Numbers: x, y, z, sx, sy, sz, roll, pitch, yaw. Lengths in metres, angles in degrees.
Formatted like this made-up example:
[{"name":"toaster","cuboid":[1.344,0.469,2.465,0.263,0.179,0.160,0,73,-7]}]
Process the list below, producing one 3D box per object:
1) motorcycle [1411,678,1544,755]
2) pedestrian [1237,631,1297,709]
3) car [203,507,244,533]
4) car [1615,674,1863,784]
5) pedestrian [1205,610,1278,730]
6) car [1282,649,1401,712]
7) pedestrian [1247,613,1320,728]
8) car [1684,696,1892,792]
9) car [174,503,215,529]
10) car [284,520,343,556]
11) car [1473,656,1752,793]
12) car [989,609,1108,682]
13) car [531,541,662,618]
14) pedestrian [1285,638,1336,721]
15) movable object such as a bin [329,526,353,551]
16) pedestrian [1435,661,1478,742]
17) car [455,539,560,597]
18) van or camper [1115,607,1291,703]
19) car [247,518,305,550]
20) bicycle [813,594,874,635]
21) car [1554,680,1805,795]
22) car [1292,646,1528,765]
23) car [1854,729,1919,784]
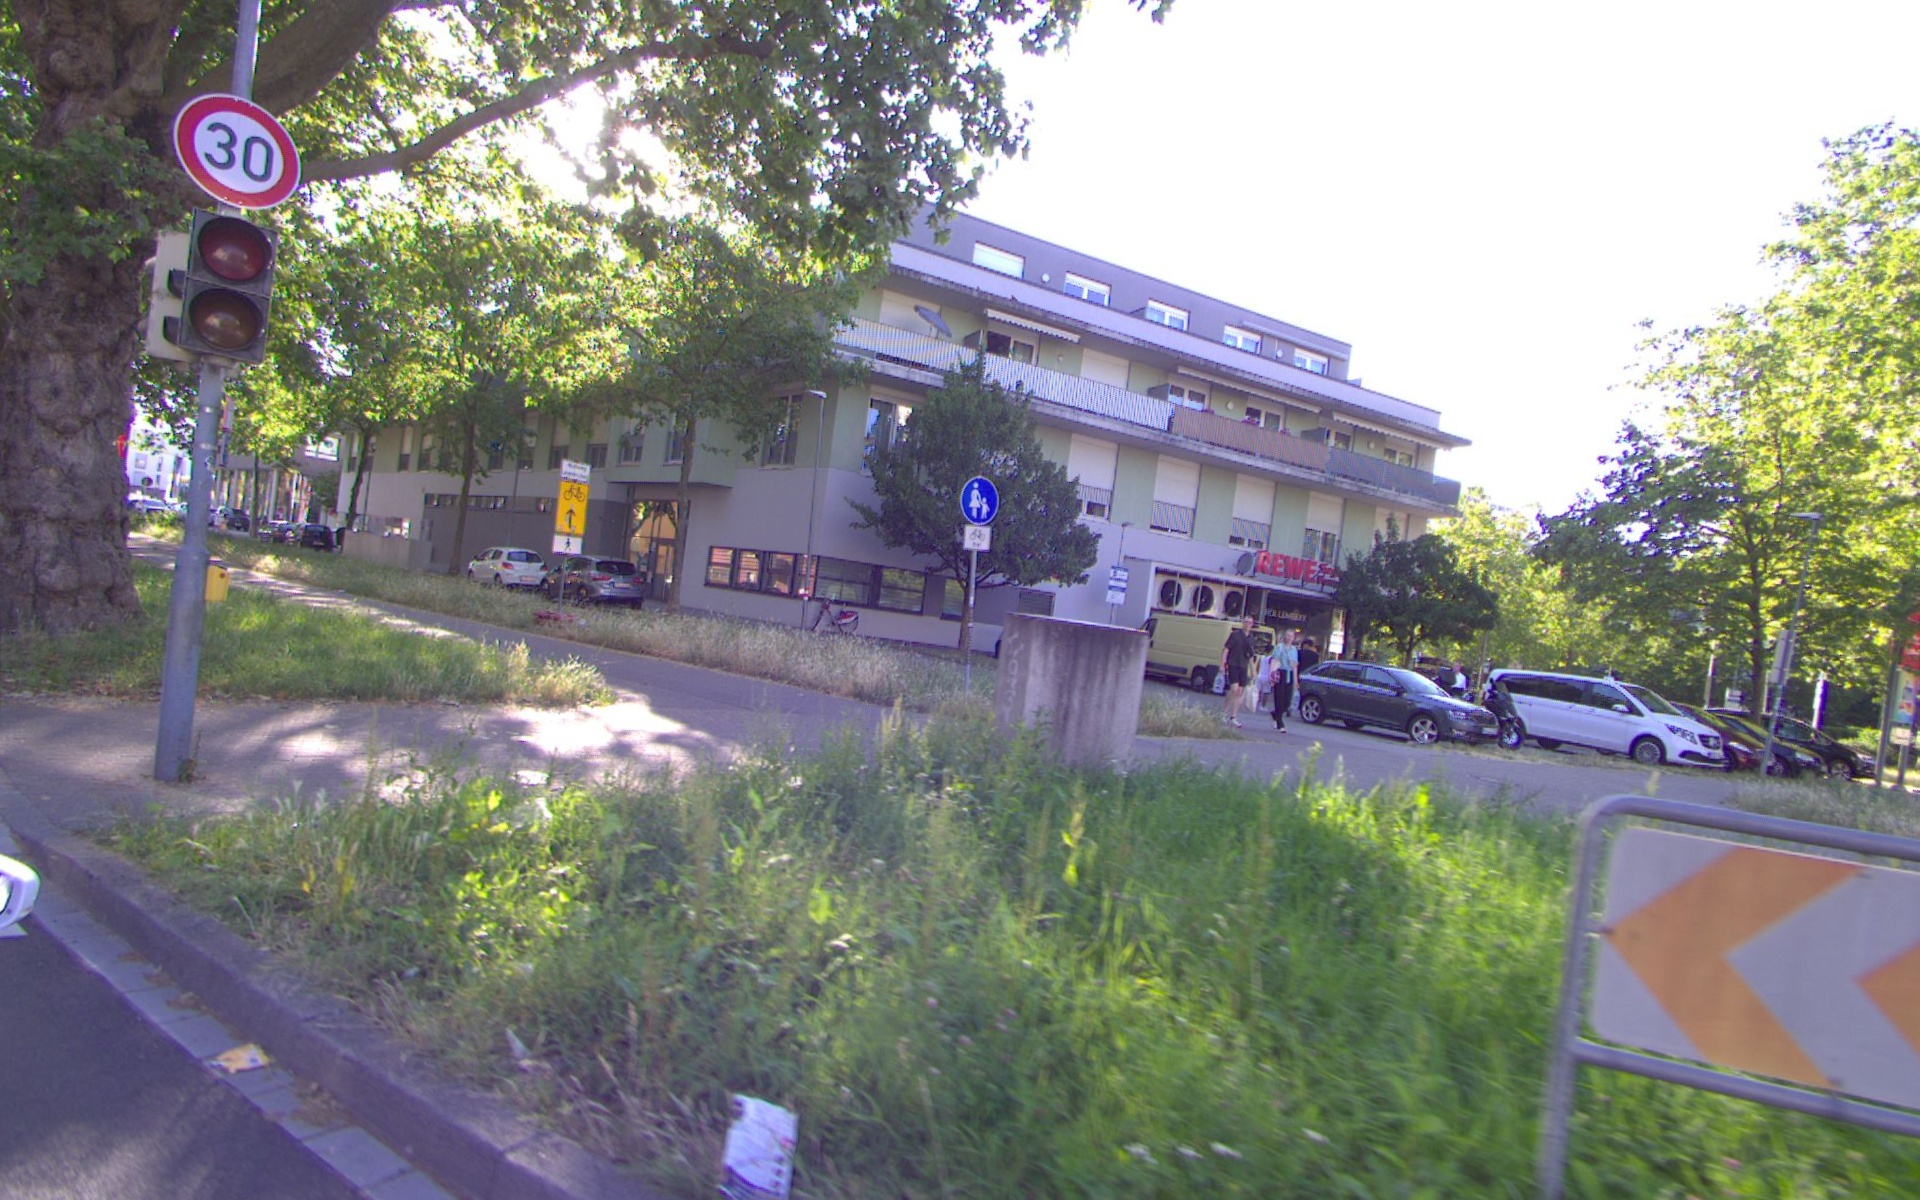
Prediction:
[{"name":"motorcycle","cuboid":[11.288,2.523,22.034,0.942,1.263,2.296,7,0,-33]},{"name":"pedestrian","cuboid":[7.278,1.660,23.861,0.935,1.719,0.880,8,1,37]},{"name":"car","cuboid":[-62.426,-6.778,85.231,4.123,1.755,1.982,7,0,43]},{"name":"car","cuboid":[20.427,3.336,26.640,1.979,1.798,4.595,8,3,-29]},{"name":"pedestrian","cuboid":[4.863,1.189,17.449,0.768,1.956,0.838,7,1,-2]},{"name":"car","cuboid":[13.428,2.818,35.593,1.561,1.653,3.651,8,-1,-29]},{"name":"pedestrian","cuboid":[5.710,1.223,17.823,0.789,1.903,0.785,7,1,-2]},{"name":"car","cuboid":[25.180,4.307,30.774,4.566,1.798,1.992,11,3,41]},{"name":"car","cuboid":[-63.929,-7.000,83.945,4.122,1.755,1.873,7,0,42]},{"name":"car","cuboid":[-35.624,-3.451,55.392,3.711,1.571,1.855,7,0,45]},{"name":"car","cuboid":[15.361,2.865,24.066,1.979,2.124,5.010,8,3,-29]},{"name":"car","cuboid":[2.554,1.308,29.803,1.657,1.474,3.529,8,3,-29]},{"name":"car","cuboid":[-10.933,-0.659,30.104,4.264,1.792,1.900,7,0,45]},{"name":"pedestrian","cuboid":[8.164,1.849,23.411,0.675,1.832,0.962,8,1,34]},{"name":"movable object such as a bin","cuboid":[-41.214,-4.095,66.955,1.186,1.481,1.394,7,0,-34]},{"name":"pedestrian","cuboid":[11.479,2.337,23.244,0.555,1.772,0.527,7,-1,-34]},{"name":"car","cuboid":[-16.013,-1.158,35.489,4.264,1.561,1.855,7,0,45]},{"name":"van or camper","cuboid":[7.462,1.636,31.597,2.238,2.274,5.333,7,0,-27]},{"name":"car","cuboid":[-40.566,-3.922,59.633,4.068,1.486,1.856,7,0,43]},{"name":"bicycle","cuboid":[-3.587,0.456,30.998,1.660,1.030,0.584,7,1,-27]},{"name":"car","cuboid":[18.065,3.405,25.525,1.979,1.798,4.595,8,3,-29]},{"name":"car","cuboid":[9.015,2.085,20.468,1.660,1.542,3.947,7,3,-34]},{"name":"car","cuboid":[37.394,6.200,38.608,4.038,1.819,2.000,6,-2,26]}]
